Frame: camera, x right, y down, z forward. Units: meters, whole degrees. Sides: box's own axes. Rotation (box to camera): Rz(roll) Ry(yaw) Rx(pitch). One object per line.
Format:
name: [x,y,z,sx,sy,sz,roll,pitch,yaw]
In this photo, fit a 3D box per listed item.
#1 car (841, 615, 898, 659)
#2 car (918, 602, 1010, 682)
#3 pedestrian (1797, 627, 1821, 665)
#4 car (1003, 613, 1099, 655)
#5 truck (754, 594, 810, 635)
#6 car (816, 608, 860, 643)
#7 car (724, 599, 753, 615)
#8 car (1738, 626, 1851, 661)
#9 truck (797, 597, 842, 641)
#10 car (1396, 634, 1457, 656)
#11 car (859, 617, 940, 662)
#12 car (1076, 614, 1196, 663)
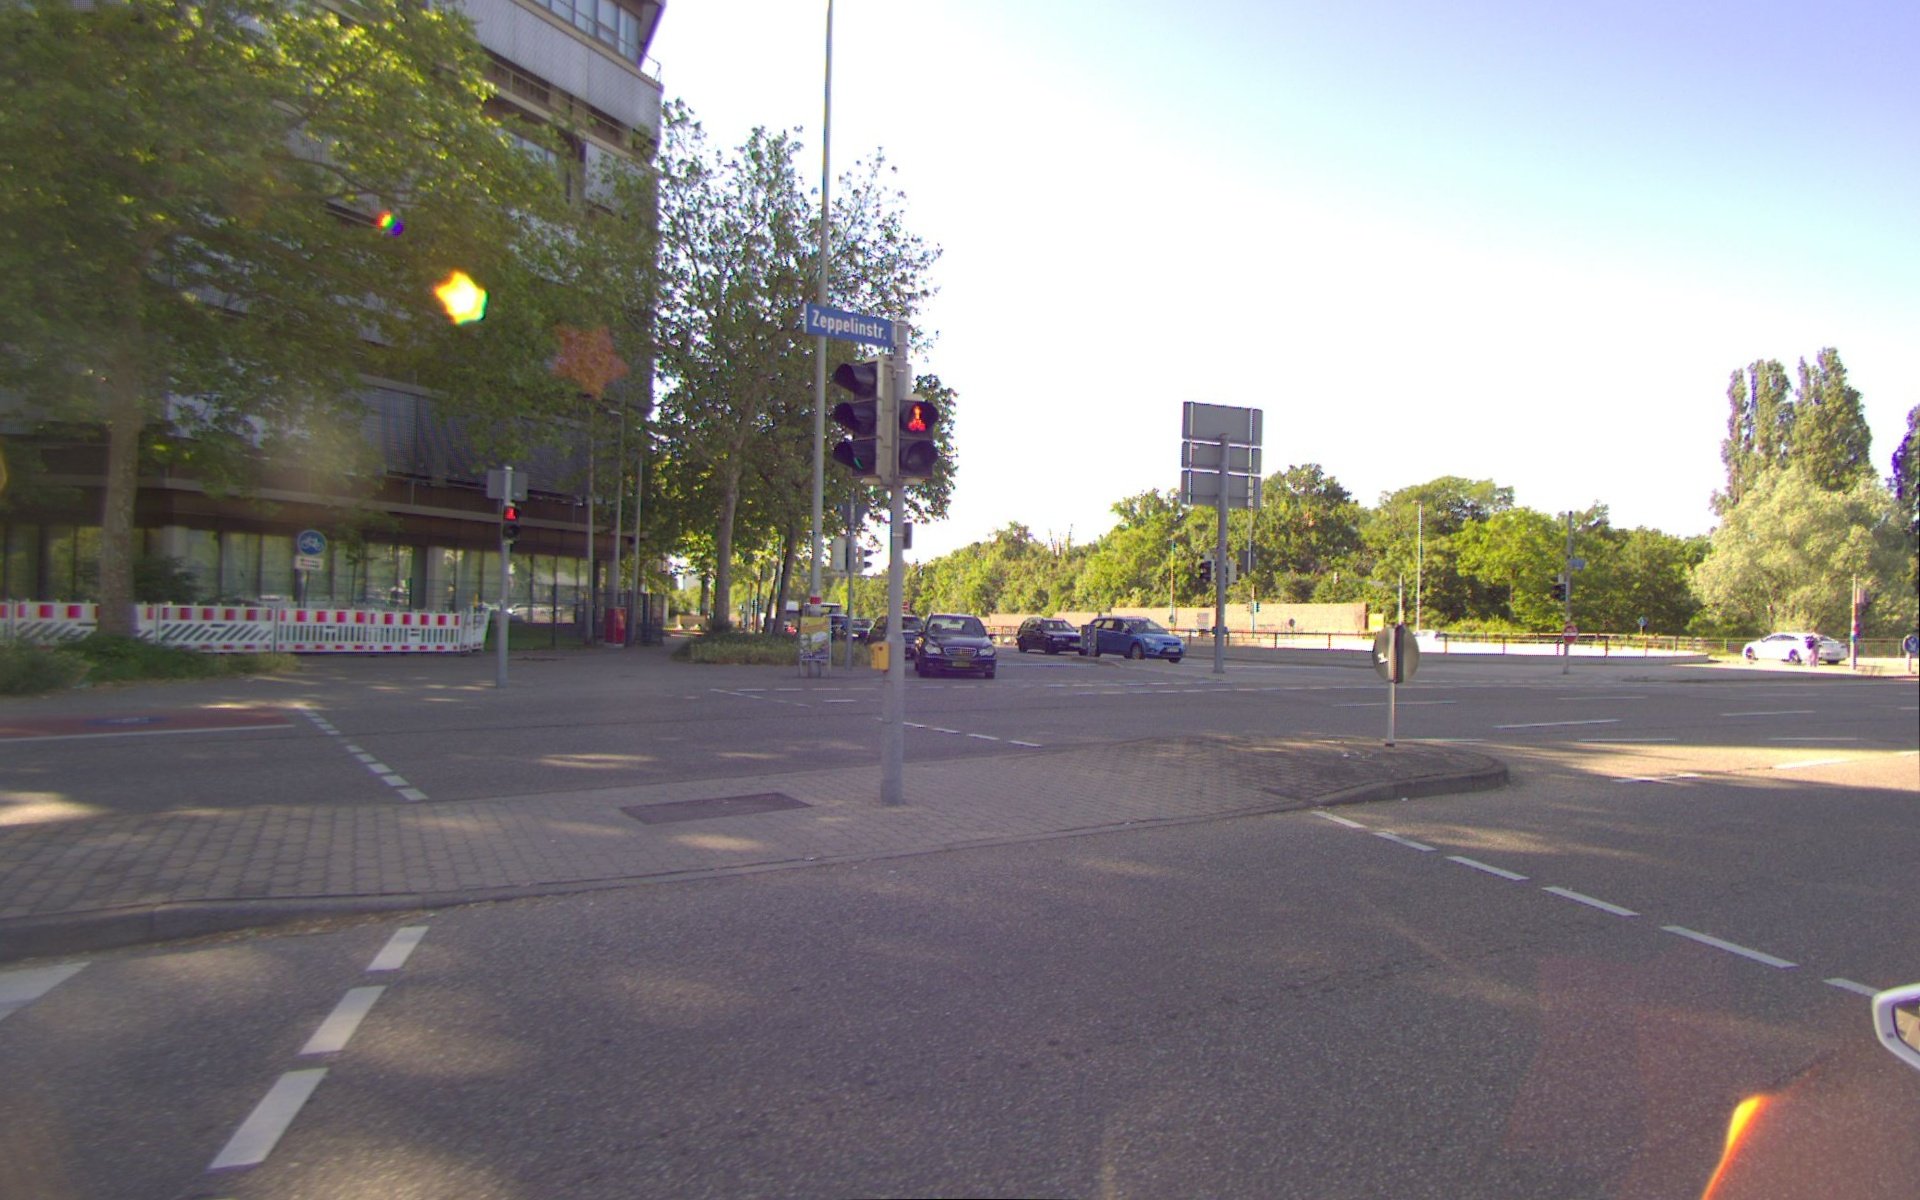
car: [-3.886,1.516,42.398,1.784,1.722,4.185,1,-1,-14]
car: [0.019,0.919,23.569,1.913,1.643,4.784,1,-1,-2]
pedestrian: [33.950,1.817,40.162,0.672,1.482,0.699,1,-1,43]
car: [3.599,1.338,40.642,1.925,1.561,4.431,2,-1,-24]
truck: [-18.360,1.399,102.820,3.797,3.847,9.294,1,1,-22]
car: [-6.221,1.260,50.821,1.847,1.666,4.499,1,-1,-12]
car: [-25.164,0.782,114.026,1.795,1.722,4.159,2,-1,-33]
car: [38.856,2.003,46.924,1.751,1.434,4.320,1,0,2]
truck: [-8.346,1.094,59.030,2.126,2.391,7.498,1,-1,-12]
car: [34.879,3.367,75.199,1.969,1.528,3.983,1,-1,-19]
car: [-2.153,1.295,34.230,1.849,1.376,4.495,1,-1,-15]
car: [6.122,1.307,35.478,1.927,1.561,4.427,2,-1,-27]
